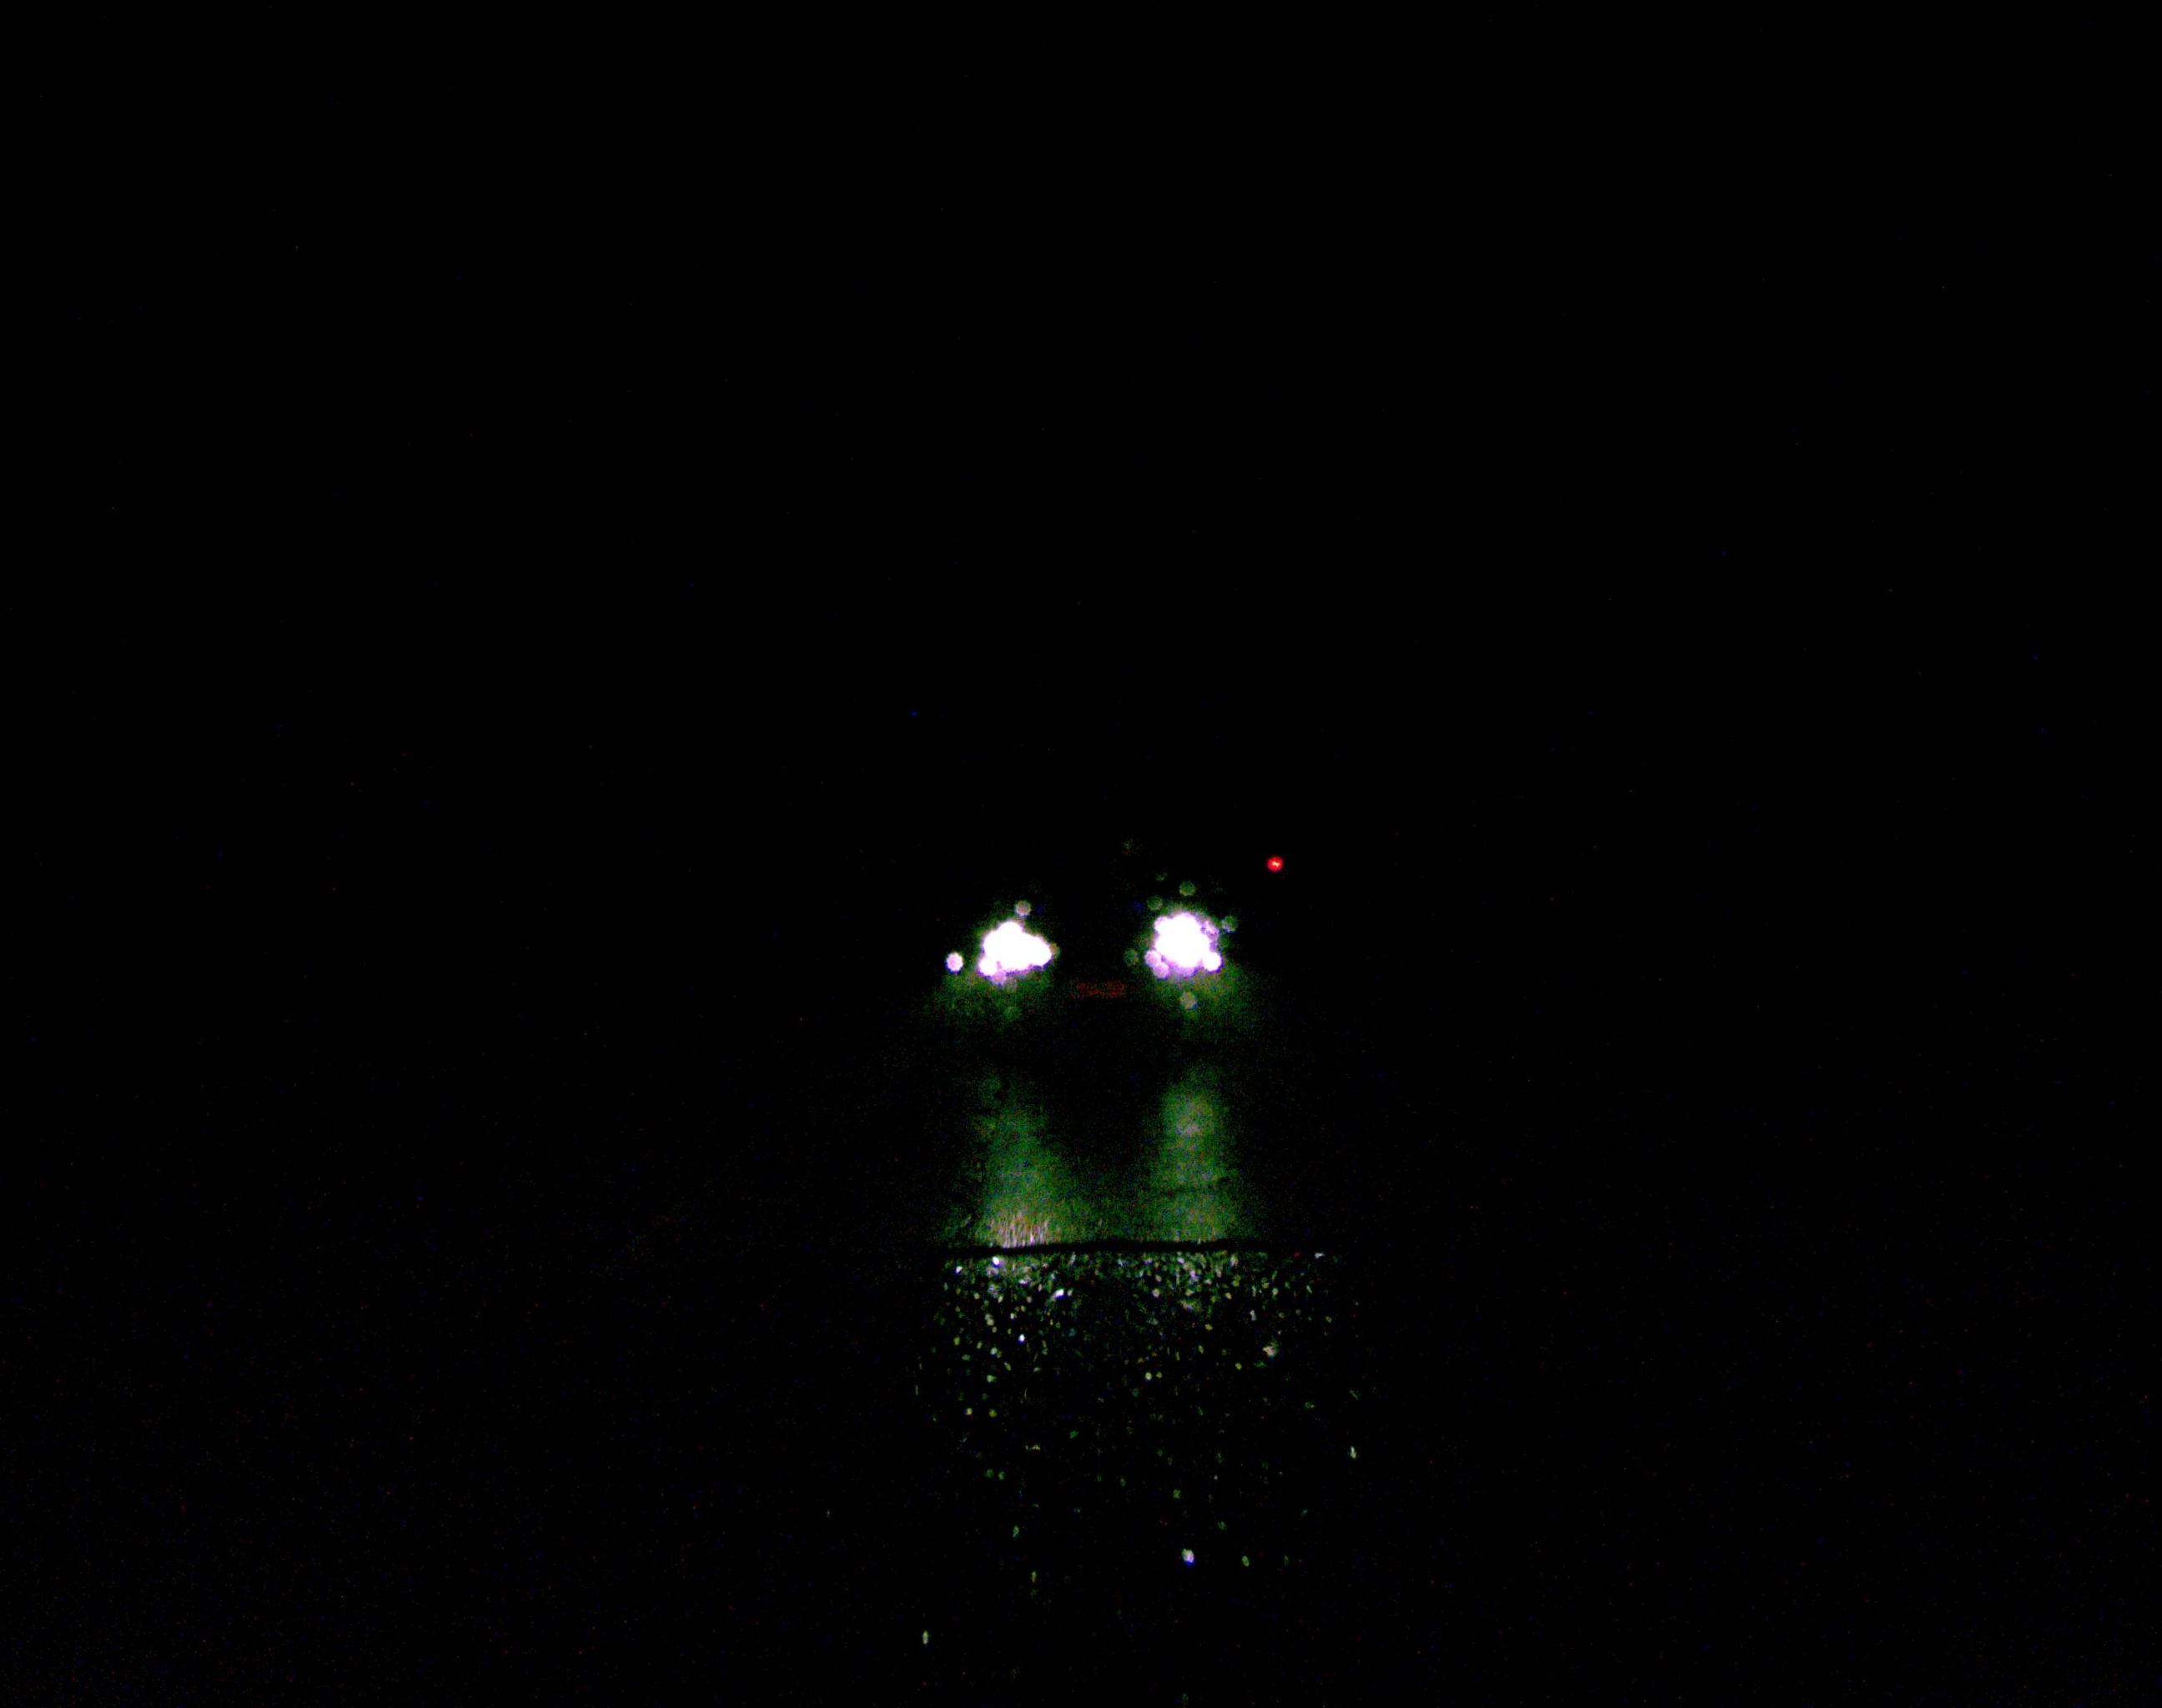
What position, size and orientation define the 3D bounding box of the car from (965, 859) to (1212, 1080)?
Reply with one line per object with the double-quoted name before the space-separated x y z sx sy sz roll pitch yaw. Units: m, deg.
"car" 0.151 0.915 7.846 1.845 1.565 4.000 -2 1 3
